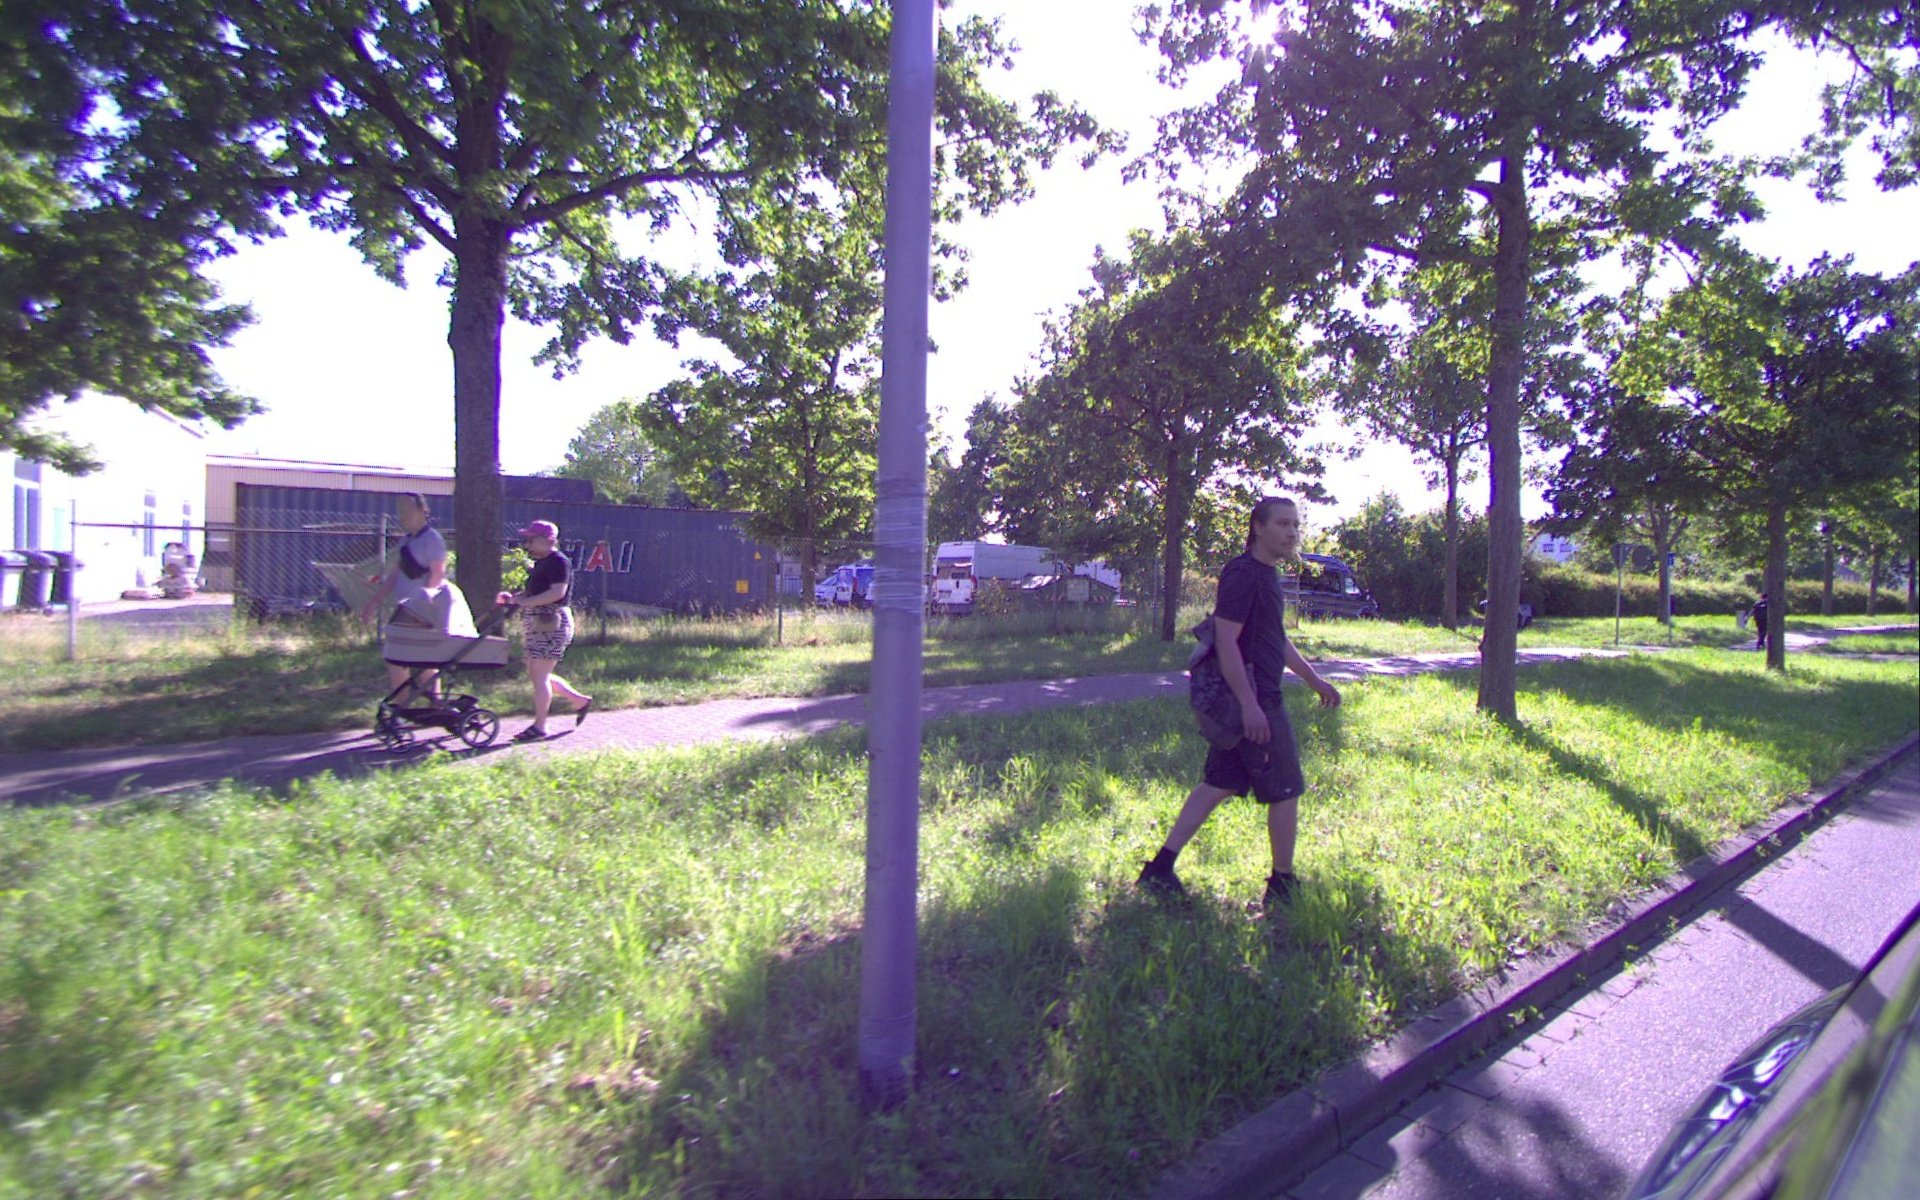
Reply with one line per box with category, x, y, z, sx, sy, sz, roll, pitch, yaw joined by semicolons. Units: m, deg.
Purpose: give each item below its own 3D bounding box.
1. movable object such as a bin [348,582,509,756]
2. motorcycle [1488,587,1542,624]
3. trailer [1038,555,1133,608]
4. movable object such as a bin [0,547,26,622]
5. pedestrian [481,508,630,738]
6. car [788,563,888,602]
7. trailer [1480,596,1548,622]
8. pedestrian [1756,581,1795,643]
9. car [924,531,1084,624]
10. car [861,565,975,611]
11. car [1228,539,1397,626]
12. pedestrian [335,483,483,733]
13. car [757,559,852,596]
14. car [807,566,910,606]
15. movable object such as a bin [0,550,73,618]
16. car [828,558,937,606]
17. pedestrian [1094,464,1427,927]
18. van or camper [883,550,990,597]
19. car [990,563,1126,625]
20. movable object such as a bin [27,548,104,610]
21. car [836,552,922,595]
movable object such as a bin;-3.732;0.444;7.102;0.852;1.094;0.727;0;3;-40
motorcycle;21.780;0.201;39.682;2.359;1.246;0.666;-4;4;-28
trailer;5.767;-0.859;46.456;3.712;2.336;2.200;0;1;-28
movable object such as a bin;-18.889;-0.319;19.452;1.037;1.424;1.191;1;1;-23
pedestrian;-3.078;0.152;7.698;0.852;1.623;0.727;0;1;-40
car;-5.459;-0.776;45.319;3.921;1.612;2.002;0;2;-32
trailer;22.729;0.364;41.548;2.013;0.878;1.586;-4;4;-28
pedestrian;24.733;0.350;30.703;0.852;1.835;0.727;0;2;-40
car;1.427;-0.688;31.732;4.764;2.676;2.165;0;2;-40
car;-1.606;-0.461;38.425;3.915;1.660;1.845;1;1;-19
car;12.346;-0.529;35.308;5.849;2.599;2.094;4;-2;-28
pedestrian;-4.225;0.045;7.764;0.852;1.777;0.727;0;1;-40
car;-7.281;-1.052;47.424;3.921;1.612;2.002;0;2;-32
car;-4.329;-0.608;43.249;3.921;1.612;2.002;0;2;-32
movable object such as a bin;-20.224;-0.363;22.047;1.037;1.424;1.191;1;1;-23
car;-3.154;-0.714;41.297;3.921;1.846;2.002;0;2;-32
pedestrian;1.314;0.322;4.374;1.092;1.672;1.010;2;1;35
van or camper;-1.335;-1.533;58.803;5.798;2.607;2.191;0;1;-28
car;2.883;-0.192;29.509;3.533;1.685;2.010;0;2;-40
movable object such as a bin;-21.246;-0.500;24.077;1.037;1.424;1.191;1;1;-23
car;-5.674;-1.822;71.351;5.567;2.947;2.344;-1;0;-30
